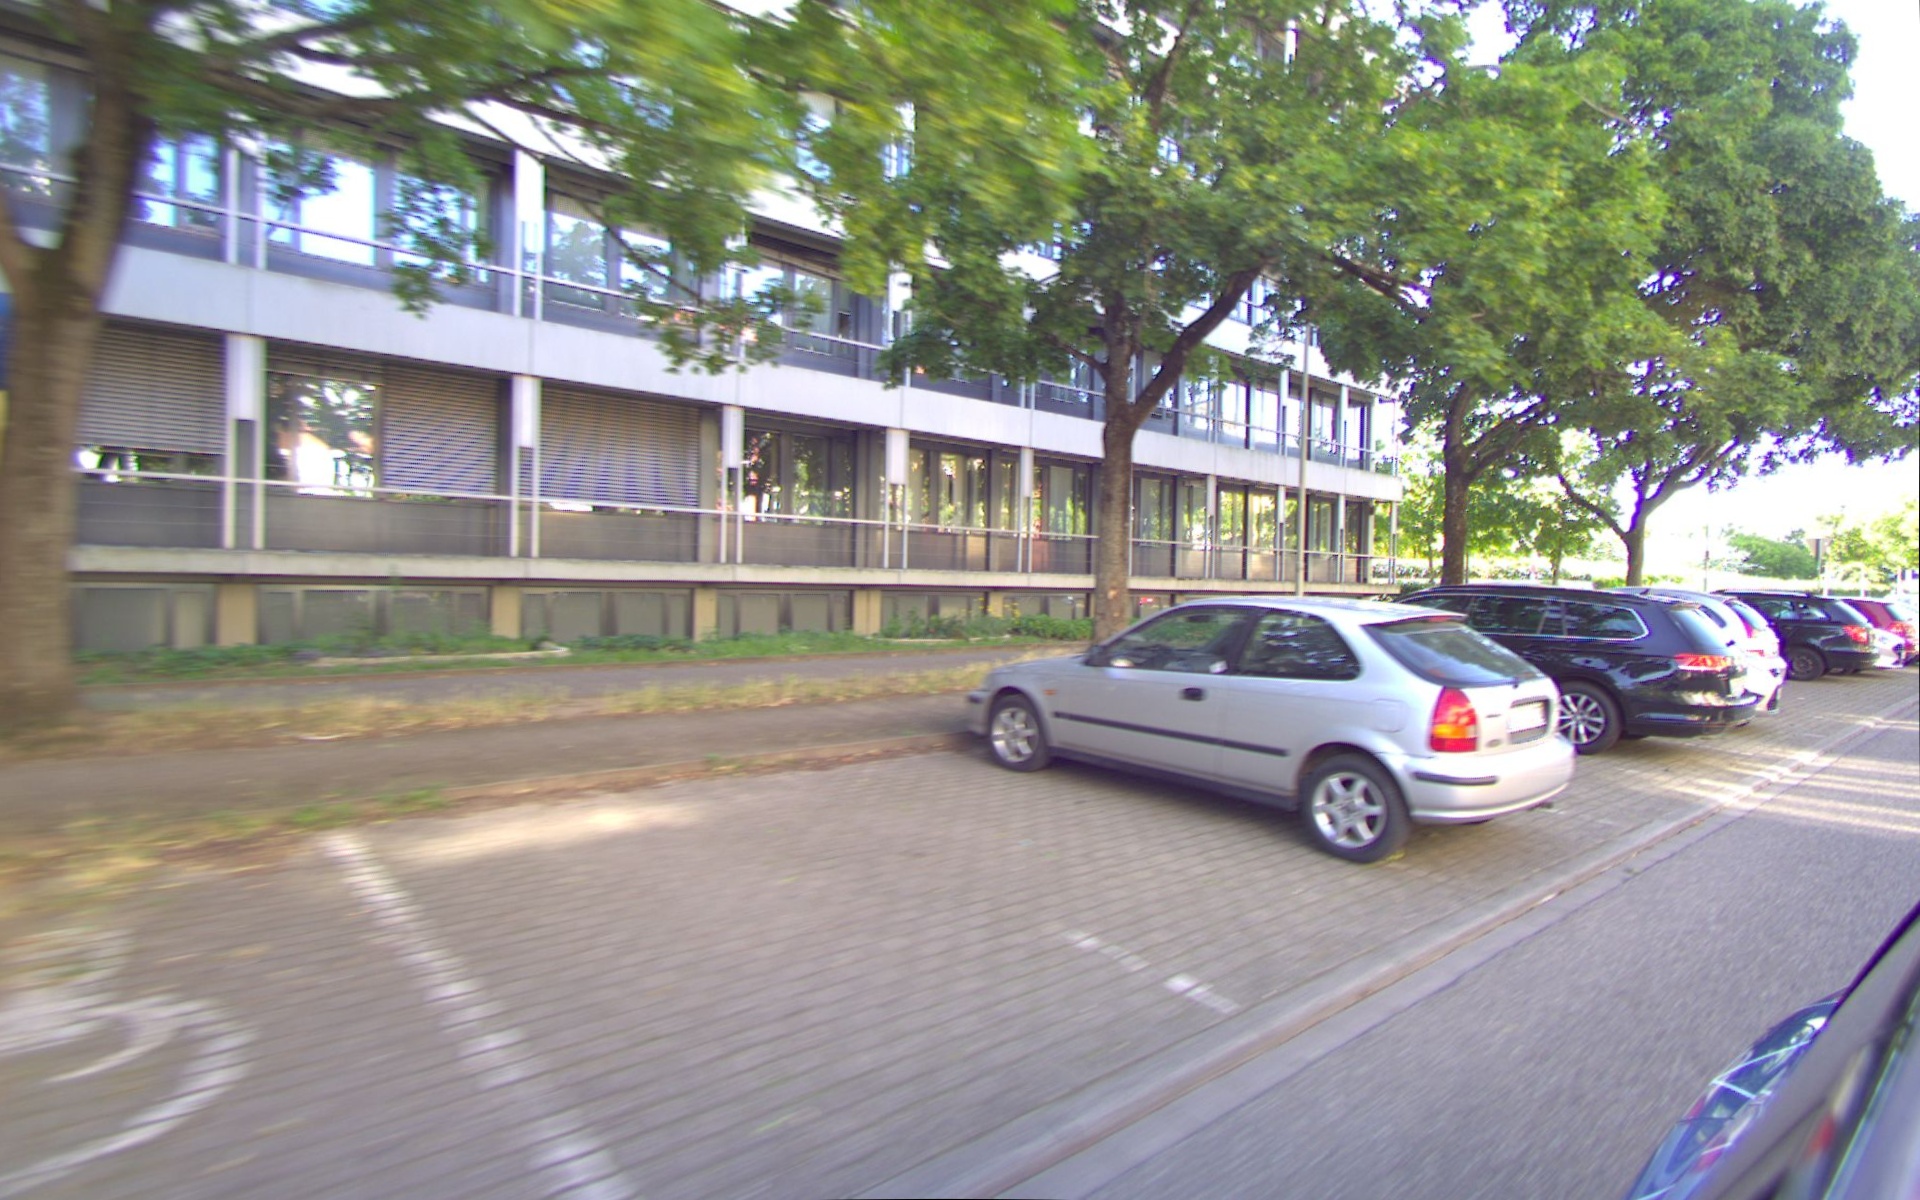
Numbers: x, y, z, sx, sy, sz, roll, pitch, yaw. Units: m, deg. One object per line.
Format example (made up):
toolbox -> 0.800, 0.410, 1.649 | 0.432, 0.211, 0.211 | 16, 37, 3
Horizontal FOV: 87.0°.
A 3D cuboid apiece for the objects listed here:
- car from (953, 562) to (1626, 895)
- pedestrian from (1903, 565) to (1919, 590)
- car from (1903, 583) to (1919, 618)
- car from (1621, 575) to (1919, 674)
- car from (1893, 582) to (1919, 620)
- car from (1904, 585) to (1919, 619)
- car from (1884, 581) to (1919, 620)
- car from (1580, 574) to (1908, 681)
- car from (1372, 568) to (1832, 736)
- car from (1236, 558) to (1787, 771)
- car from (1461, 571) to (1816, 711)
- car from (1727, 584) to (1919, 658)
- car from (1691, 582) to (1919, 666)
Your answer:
car -> 1.873, 0.544, 6.786 | 1.680, 1.437, 3.979 | 0, 3, -40
pedestrian -> 61.655, -1.460, 65.575 | 0.919, 1.561, 0.609 | 0, 1, -33
car -> 44.520, 0.145, 44.745 | 1.719, 1.533, 3.886 | -1, 5, -39
car -> 16.078, 0.381, 20.083 | 1.886, 1.561, 4.531 | 0, 3, -36
car -> 42.804, 0.153, 42.988 | 4.553, 1.533, 1.951 | 6, 5, 44
car -> 46.554, 0.241, 46.341 | 2.120, 1.533, 4.562 | -1, 5, -39
car -> 40.719, 0.099, 41.485 | 1.671, 1.533, 3.959 | -1, 5, -39
car -> 14.306, 0.397, 18.665 | 1.890, 1.561, 4.520 | 0, 4, -44
car -> 7.557, 0.455, 12.259 | 1.969, 1.511, 4.294 | 0, 3, -41
car -> 5.344, 0.442, 10.372 | 1.733, 1.511, 4.600 | 0, 4, -42
car -> 9.135, 0.442, 13.842 | 1.590, 1.511, 3.747 | 0, 3, -44
car -> 20.506, 0.452, 23.014 | 1.716, 1.493, 4.588 | 0, 2, -40
car -> 18.239, 0.443, 21.602 | 1.886, 1.464, 3.851 | 0, 3, -36
